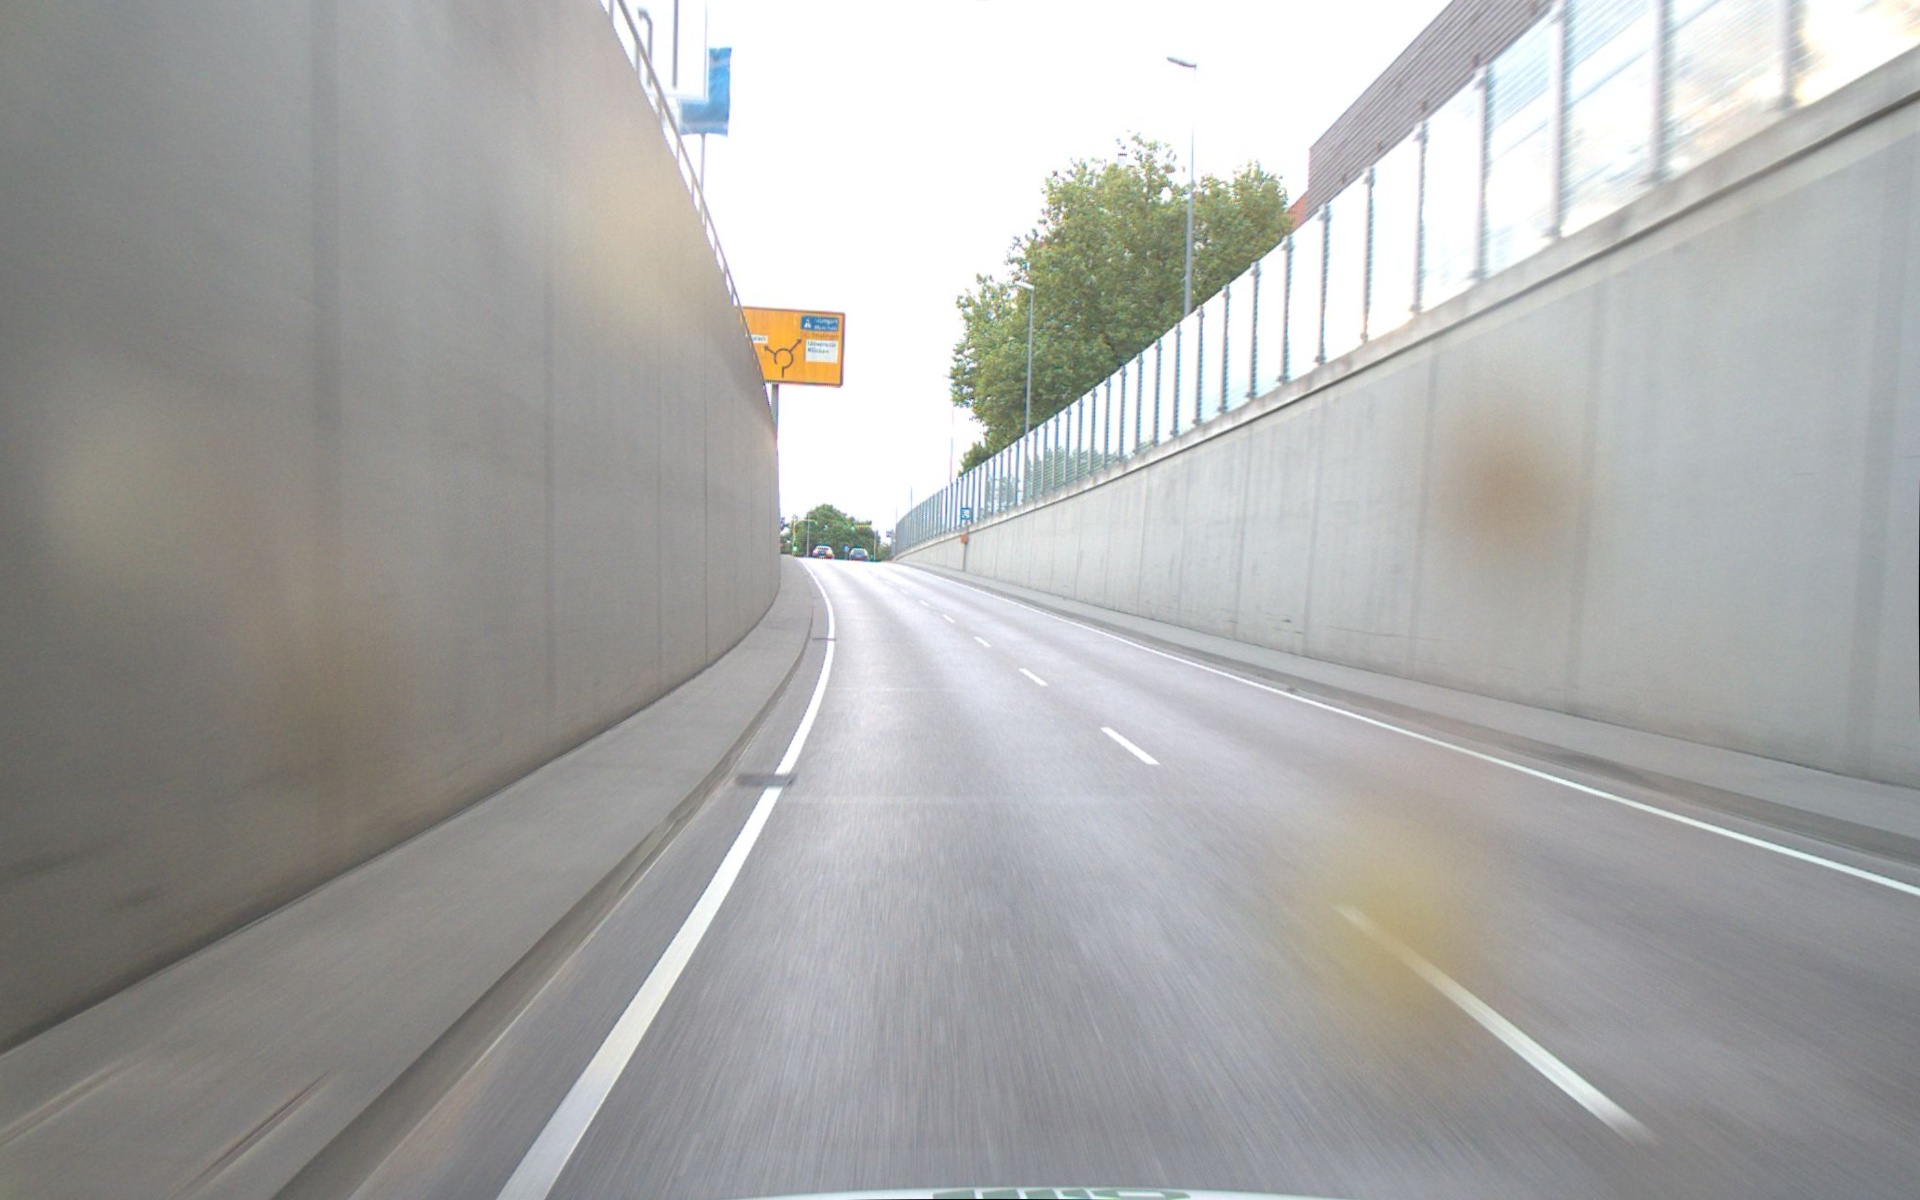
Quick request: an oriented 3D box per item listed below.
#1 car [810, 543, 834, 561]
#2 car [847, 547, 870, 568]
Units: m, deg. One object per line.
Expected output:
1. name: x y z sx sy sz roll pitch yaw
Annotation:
1. car: -12.536 -4.328 149.742 1.807 1.413 3.991 2 0 -9
2. car: -9.396 -3.918 153.023 1.834 1.763 3.994 2 0 -7
